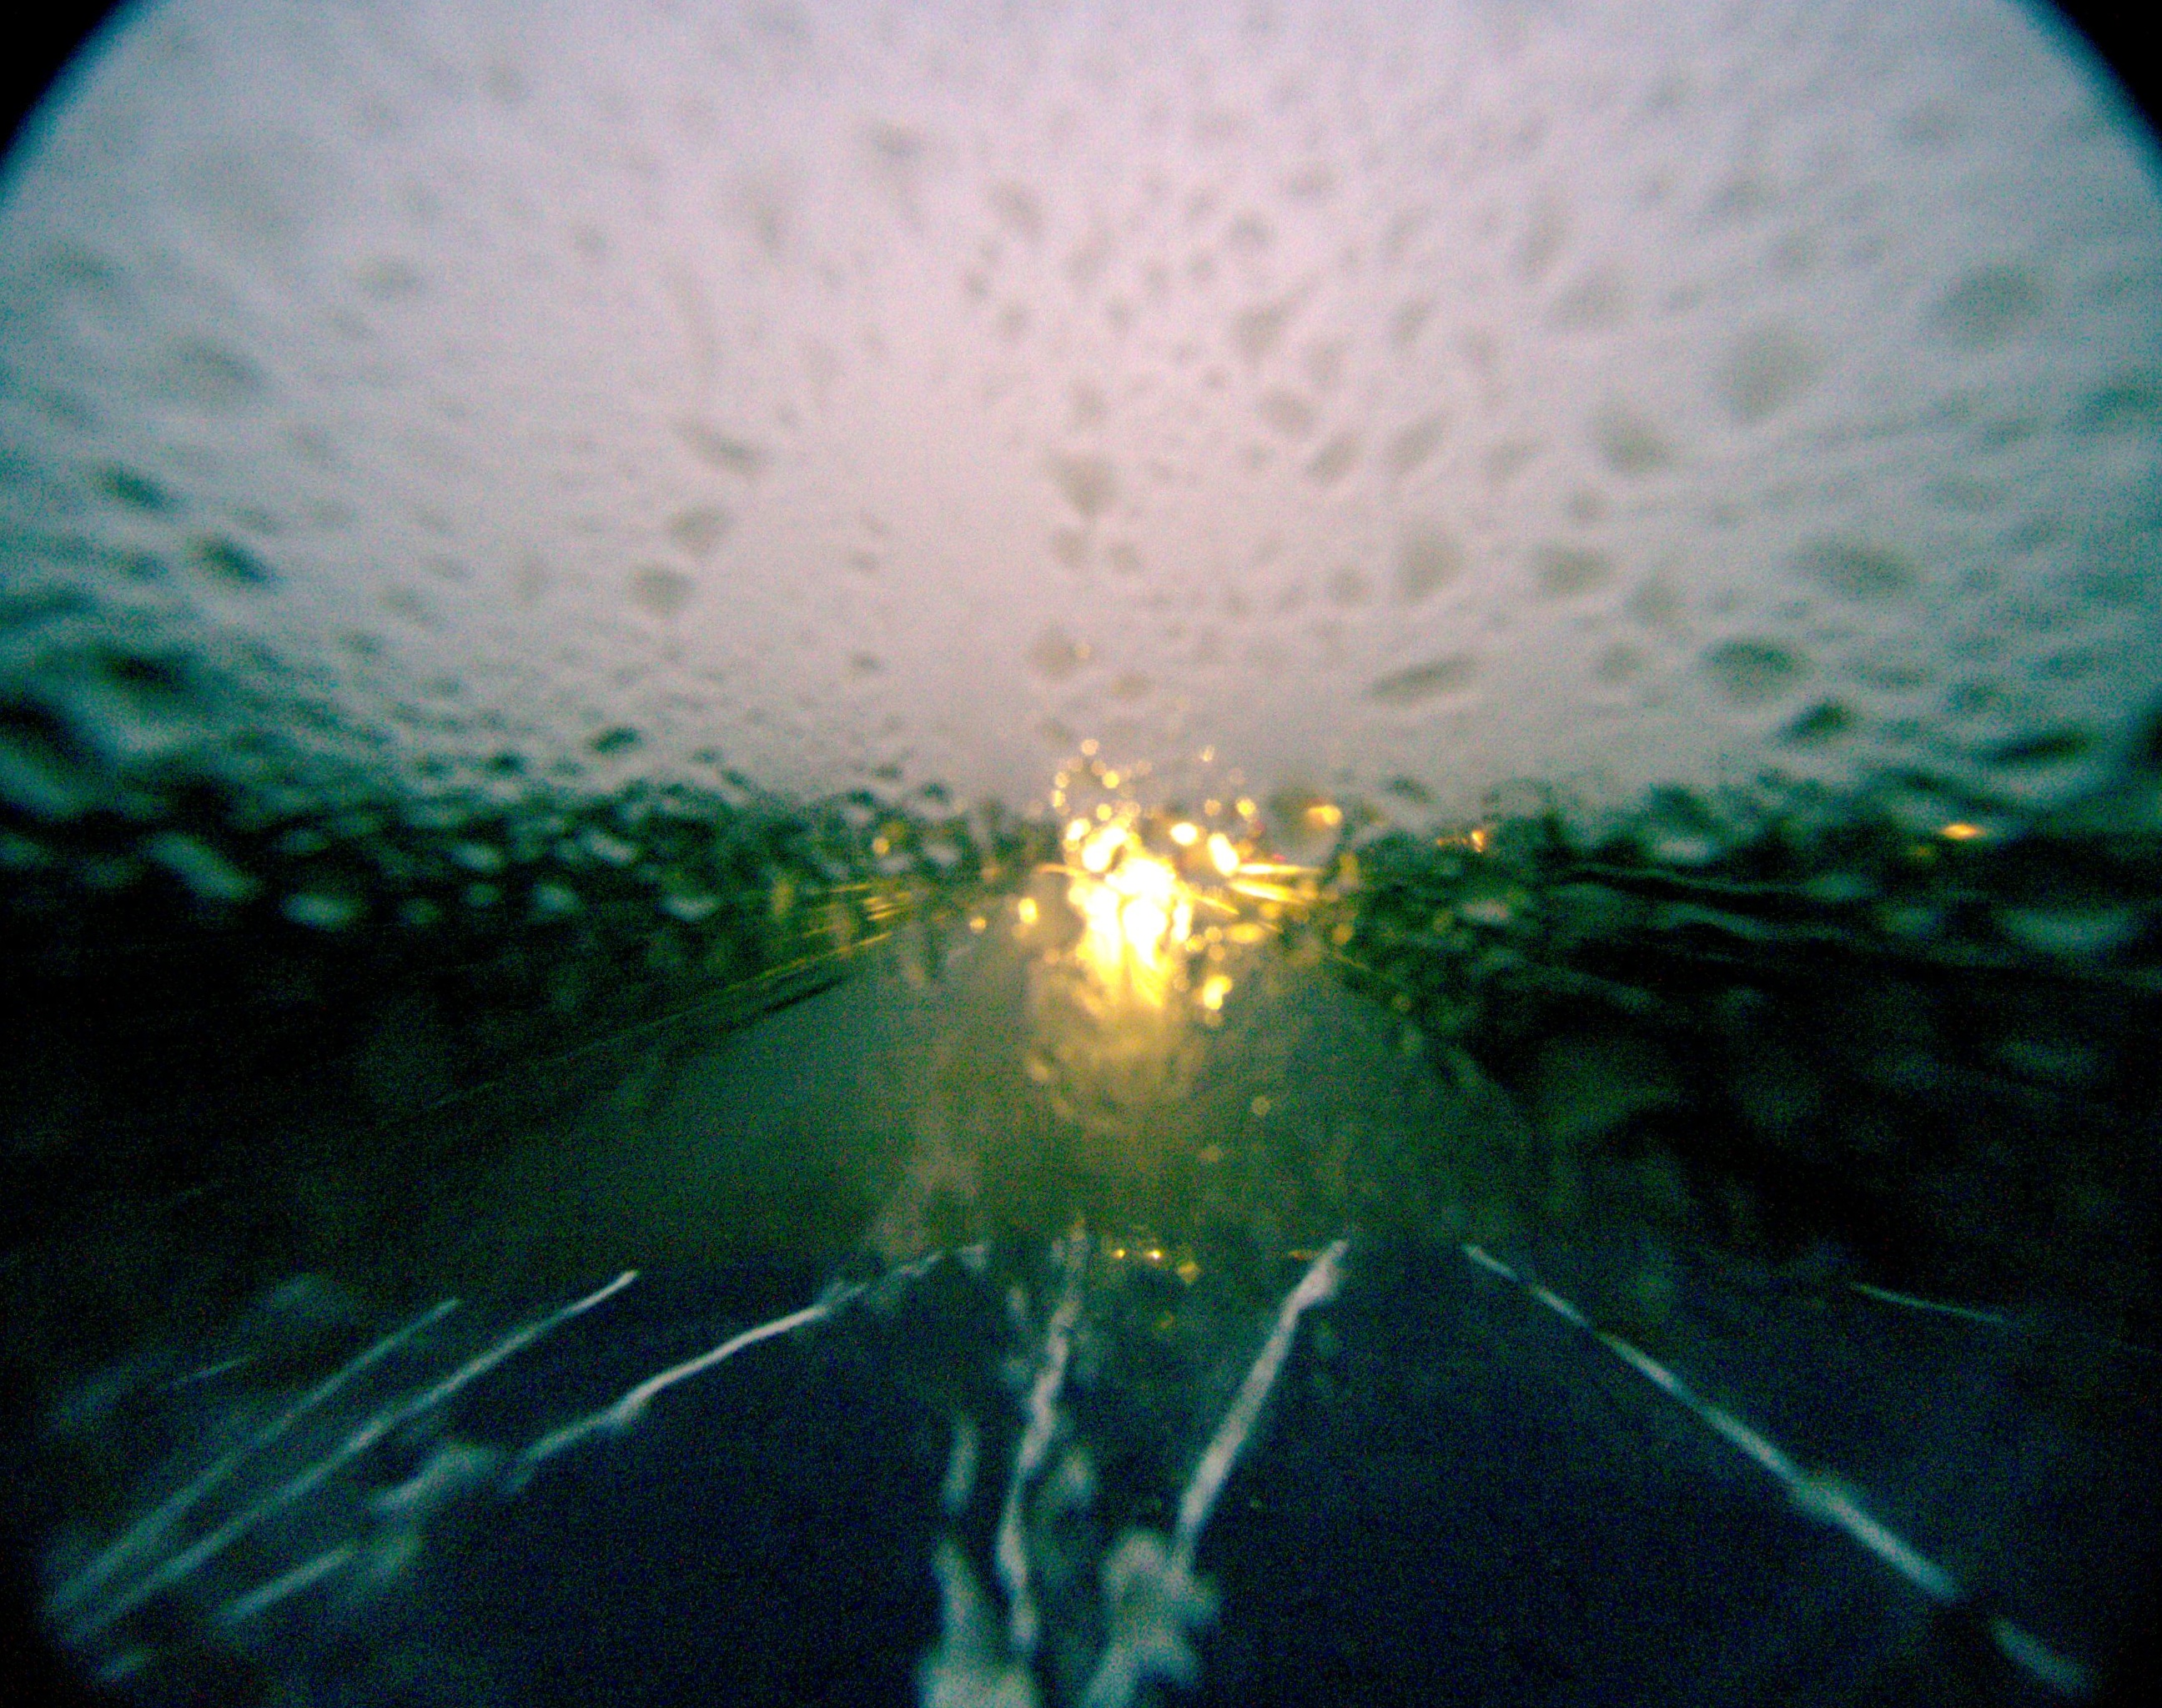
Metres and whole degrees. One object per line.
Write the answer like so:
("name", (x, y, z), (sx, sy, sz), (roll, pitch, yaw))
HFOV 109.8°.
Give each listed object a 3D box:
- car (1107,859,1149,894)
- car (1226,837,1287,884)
("car", (2.316, 1.037, 37.256), (1.886, 1.514, 4.001), (-1, 1, 4))
("car", (9.119, 0.300, 39.980), (2.054, 2.250, 5.208), (-2, 1, 2))
